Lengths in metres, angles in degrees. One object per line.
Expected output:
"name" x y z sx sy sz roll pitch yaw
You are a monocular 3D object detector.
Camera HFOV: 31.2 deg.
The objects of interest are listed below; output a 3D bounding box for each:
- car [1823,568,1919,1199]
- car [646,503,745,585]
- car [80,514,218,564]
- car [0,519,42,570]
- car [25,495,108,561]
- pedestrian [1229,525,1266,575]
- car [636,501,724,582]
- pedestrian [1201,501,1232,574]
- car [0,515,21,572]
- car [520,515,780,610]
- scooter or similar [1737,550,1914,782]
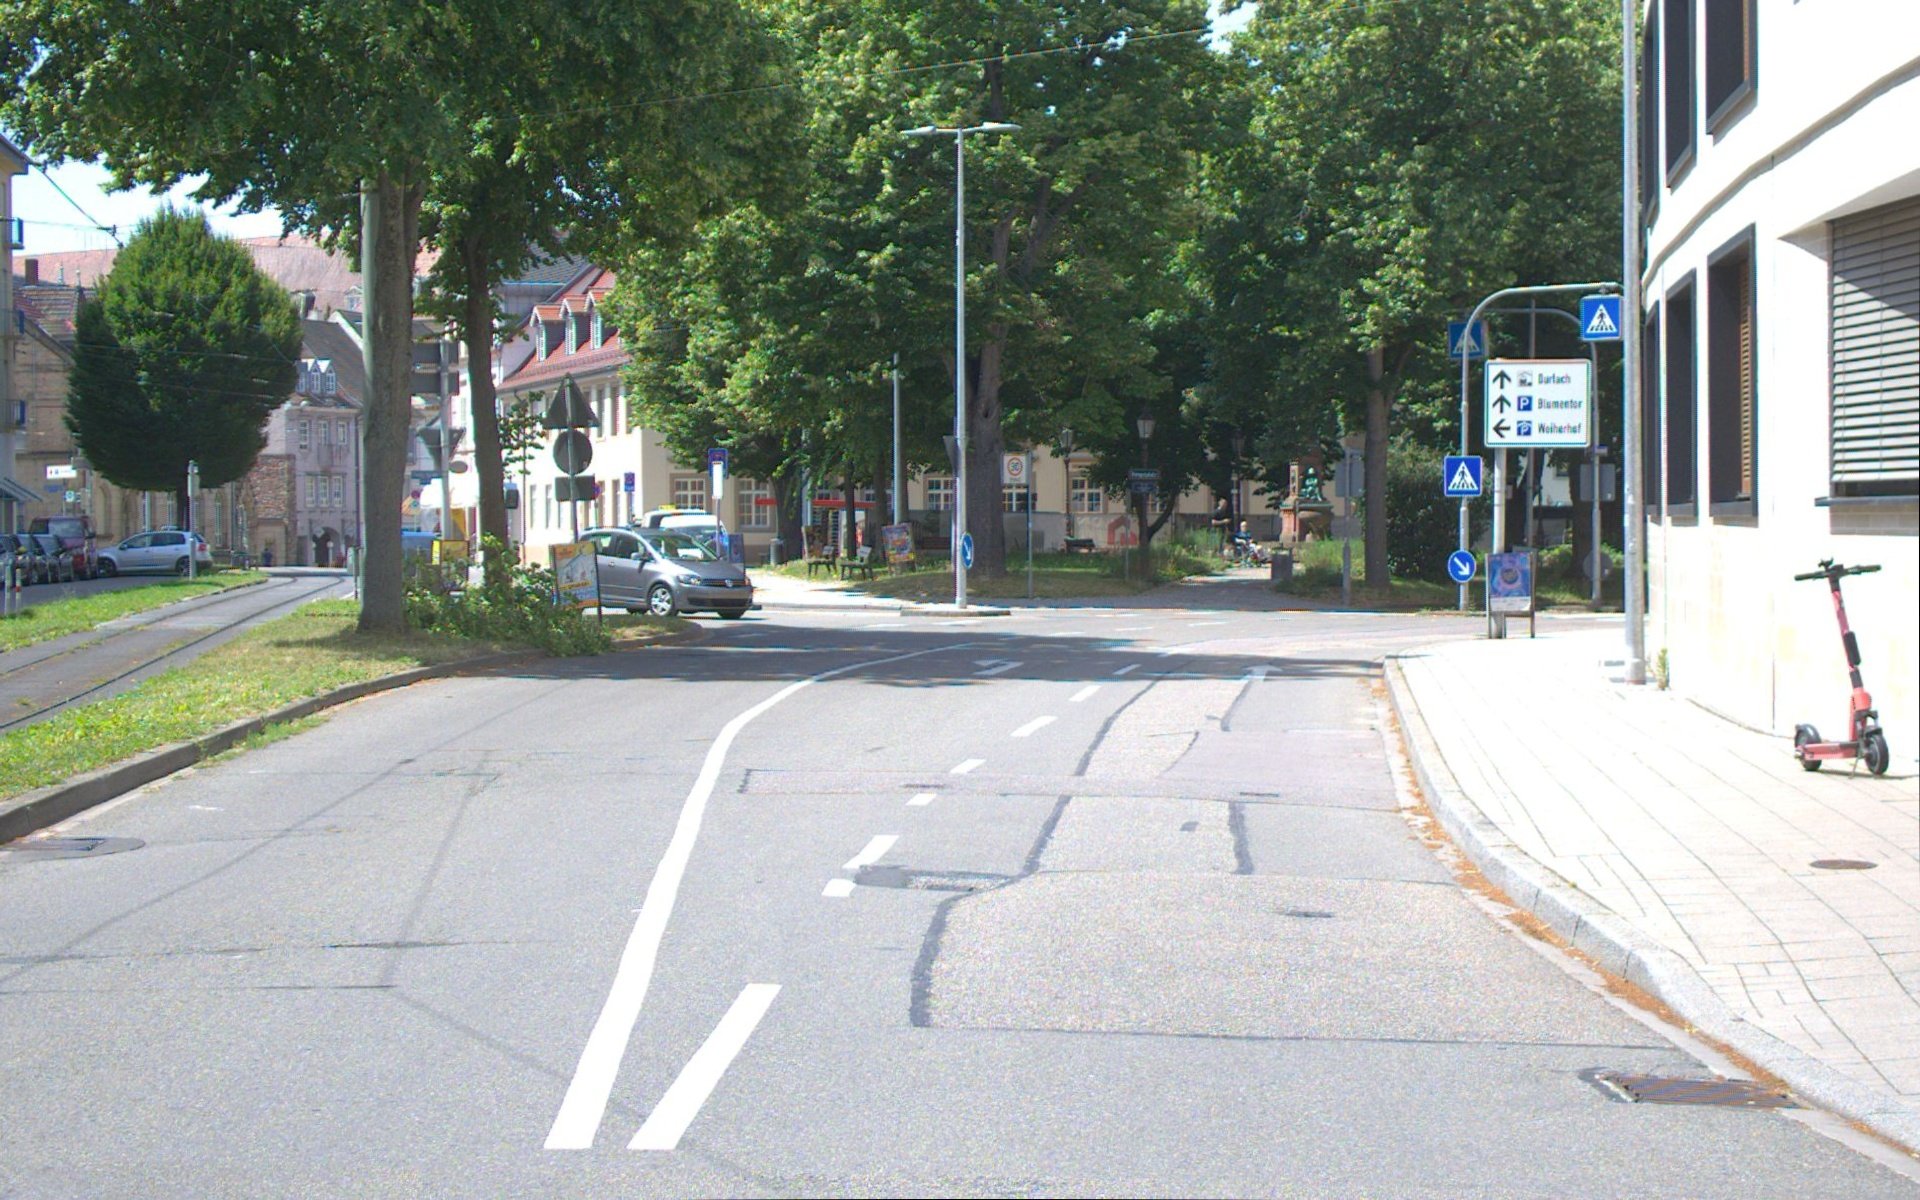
"car" 2.446 0.682 3.104 1.799 1.504 4.548 -3 1 -5
"car" -6.185 -1.334 79.984 1.993 1.820 4.424 1 1 -8
"car" -25.937 -1.974 110.084 4.201 1.499 2.005 -2 2 -12
"car" -25.159 -1.461 90.180 1.686 1.273 3.289 -1 2 -8
"car" -27.036 -2.197 104.107 1.853 1.904 4.773 -1 2 -8
"pedestrian" 7.590 -1.322 90.623 0.906 1.247 1.148 1 3 7
"car" -7.221 -1.524 88.347 2.049 1.995 5.250 1 1 -7
"pedestrian" 6.798 -1.657 90.947 0.748 1.904 0.684 1 3 7
"car" -24.451 -1.393 85.362 1.686 1.385 3.859 -1 2 -8
"car" -5.452 -0.664 60.224 4.238 1.528 1.906 2 1 33
"scooter or similar" 4.913 0.352 19.582 0.581 1.256 1.368 -2 1 -2
